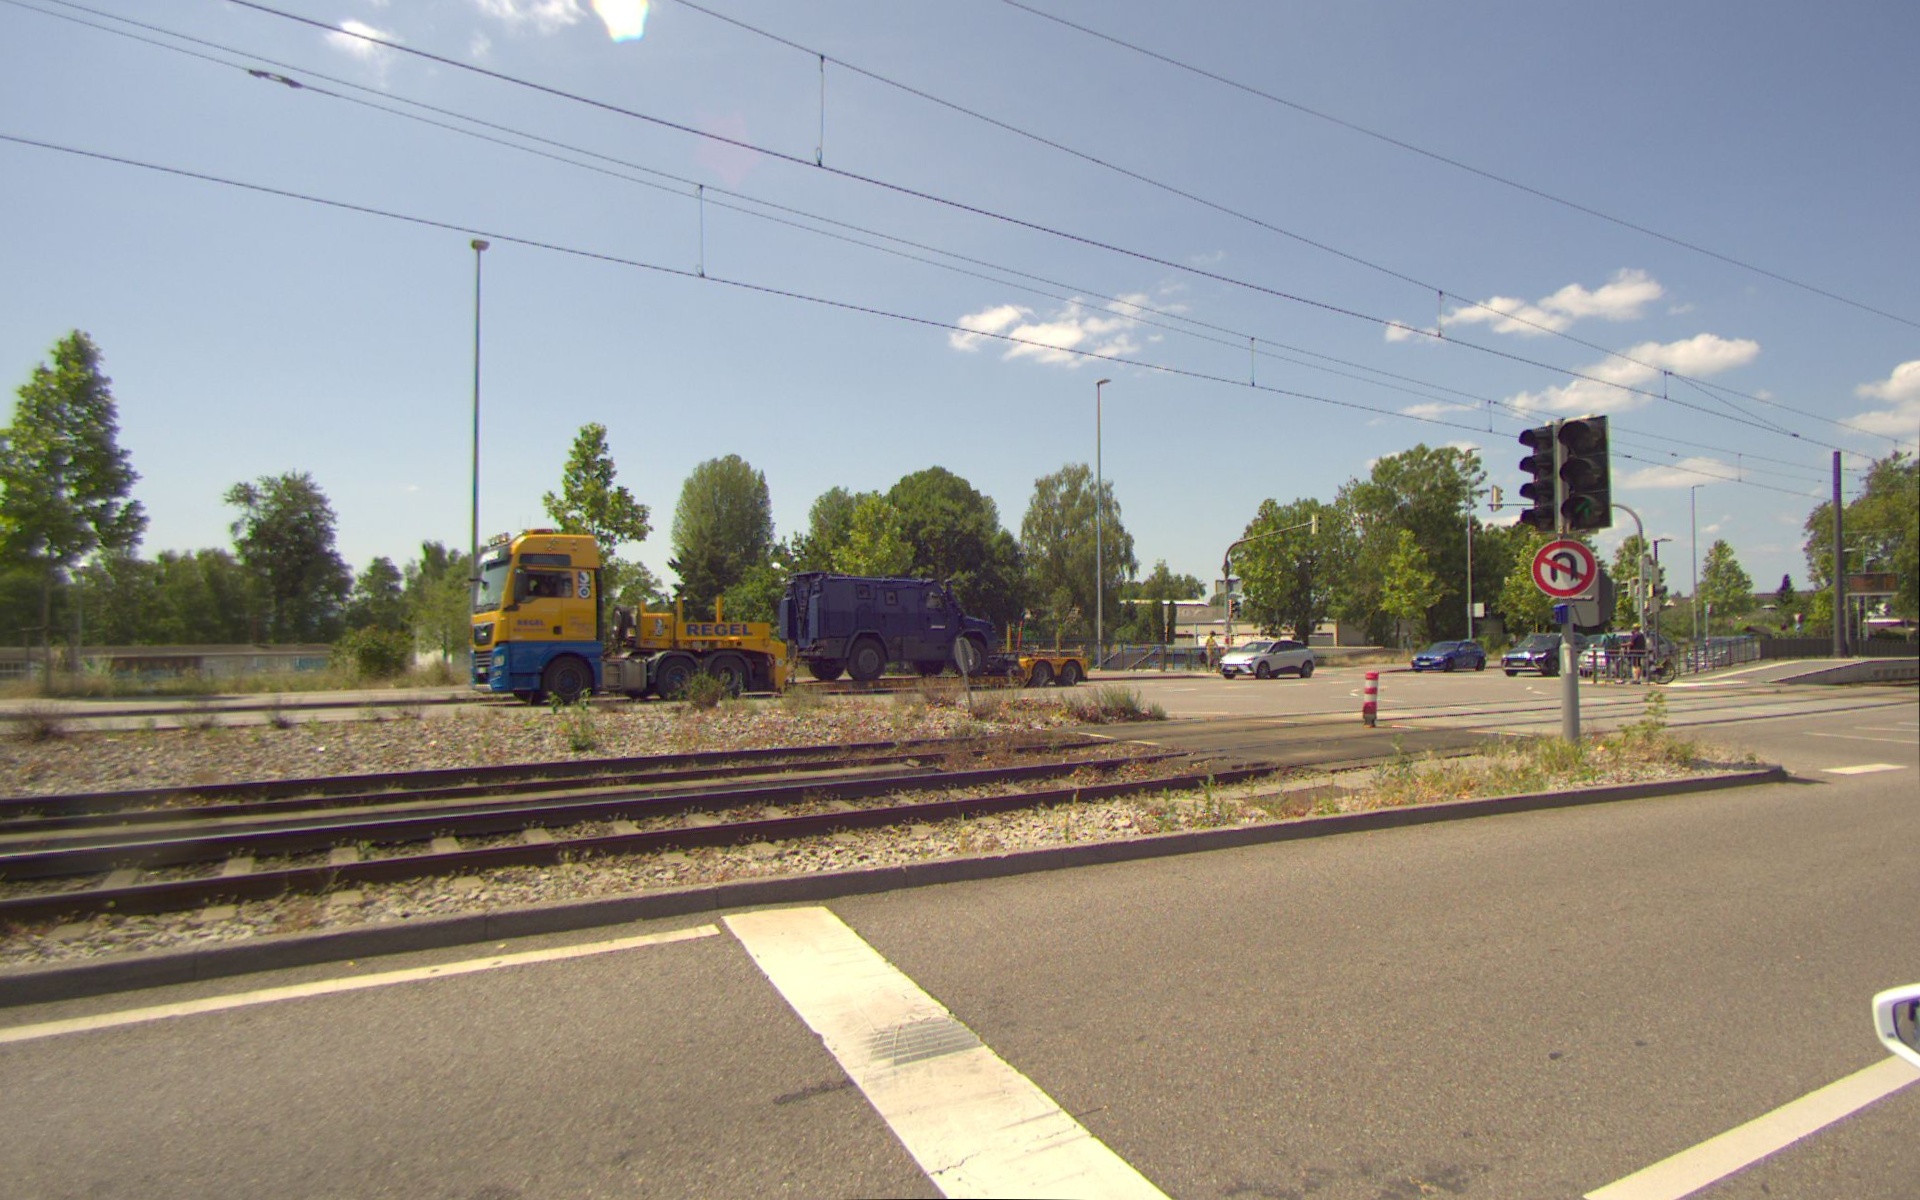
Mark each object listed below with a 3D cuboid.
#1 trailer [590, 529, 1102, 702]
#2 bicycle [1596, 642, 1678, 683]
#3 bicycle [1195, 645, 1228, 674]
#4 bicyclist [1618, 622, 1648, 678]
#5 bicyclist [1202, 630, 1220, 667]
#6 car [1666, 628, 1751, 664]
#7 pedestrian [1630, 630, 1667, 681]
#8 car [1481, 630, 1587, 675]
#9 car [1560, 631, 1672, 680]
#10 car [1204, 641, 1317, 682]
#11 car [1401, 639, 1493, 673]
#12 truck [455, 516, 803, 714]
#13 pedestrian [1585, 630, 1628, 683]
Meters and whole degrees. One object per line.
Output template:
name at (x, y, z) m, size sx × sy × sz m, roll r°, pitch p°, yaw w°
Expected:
trailer at (-2.371, 0.498, 28.882) m, size 15.347 × 3.922 × 3.090 m, roll 1°, pitch -1°, yaw -39°
bicycle at (20.197, 1.836, 29.996) m, size 1.950 × 1.115 × 0.760 m, roll 0°, pitch -1°, yaw 43°
bicycle at (11.194, 2.636, 44.810) m, size 0.582 × 1.209 × 1.525 m, roll 3°, pitch -1°, yaw -24°
bicyclist at (20.022, 1.478, 29.884) m, size 0.656 × 1.636 × 0.729 m, roll 1°, pitch -1°, yaw 42°
bicyclist at (11.193, 2.172, 44.815) m, size 0.537 × 1.631 × 0.584 m, roll 1°, pitch -1°, yaw -26°
car at (36.157, 2.191, 48.494) m, size 3.955 × 1.650 × 1.983 m, roll 1°, pitch -1°, yaw -32°
pedestrian at (21.674, 1.729, 31.625) m, size 0.756 × 1.569 × 0.757 m, roll 1°, pitch -1°, yaw -35°
car at (22.496, 2.030, 39.366) m, size 3.955 × 1.650 × 1.983 m, roll 1°, pitch -1°, yaw -32°
car at (24.263, 2.017, 37.121) m, size 3.955 × 1.650 × 1.983 m, roll 1°, pitch -1°, yaw -32°
car at (11.723, 2.367, 39.122) m, size 4.233 × 1.482 × 1.982 m, roll 2°, pitch -2°, yaw -33°
car at (22.762, 2.575, 46.955) m, size 4.304 × 1.464 × 1.982 m, roll 1°, pitch -1°, yaw -34°
truck at (-7.838, 0.384, 24.402) m, size 7.412 × 4.092 × 3.100 m, roll 1°, pitch -1°, yaw -40°
pedestrian at (20.403, 1.767, 31.712) m, size 0.756 × 1.631 × 0.950 m, roll 1°, pitch -1°, yaw -35°
